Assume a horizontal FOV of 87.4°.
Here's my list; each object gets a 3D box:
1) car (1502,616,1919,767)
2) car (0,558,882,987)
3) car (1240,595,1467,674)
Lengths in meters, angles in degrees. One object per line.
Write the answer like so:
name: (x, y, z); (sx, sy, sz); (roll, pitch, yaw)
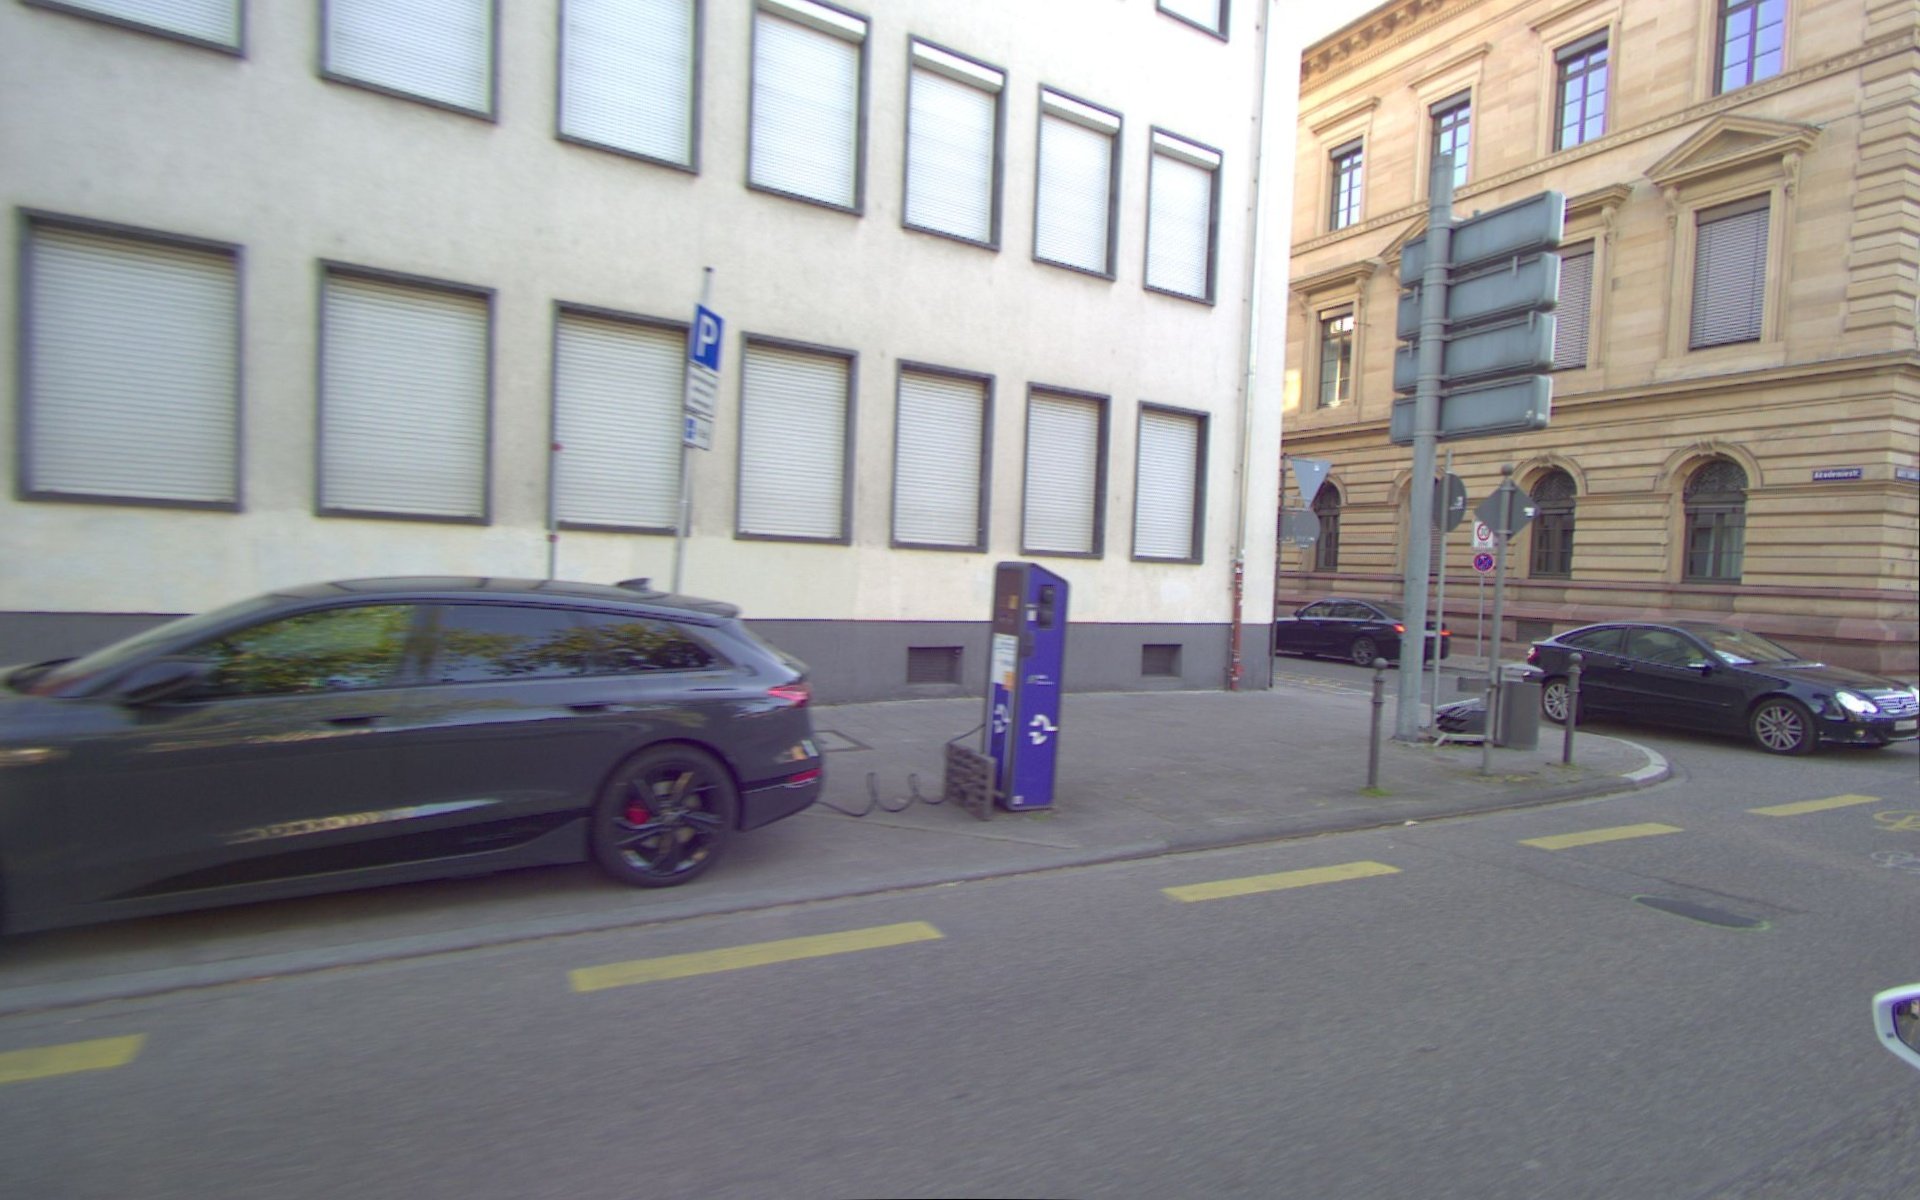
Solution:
car: (9.320, 0.986, 12.593); (1.750, 1.408, 4.304); (1, 1, -22)
car: (-2.921, 0.634, 5.133); (4.708, 1.524, 1.813); (1, 3, -33)
car: (8.569, 0.690, 22.246); (1.758, 1.480, 4.425); (1, 1, -35)
